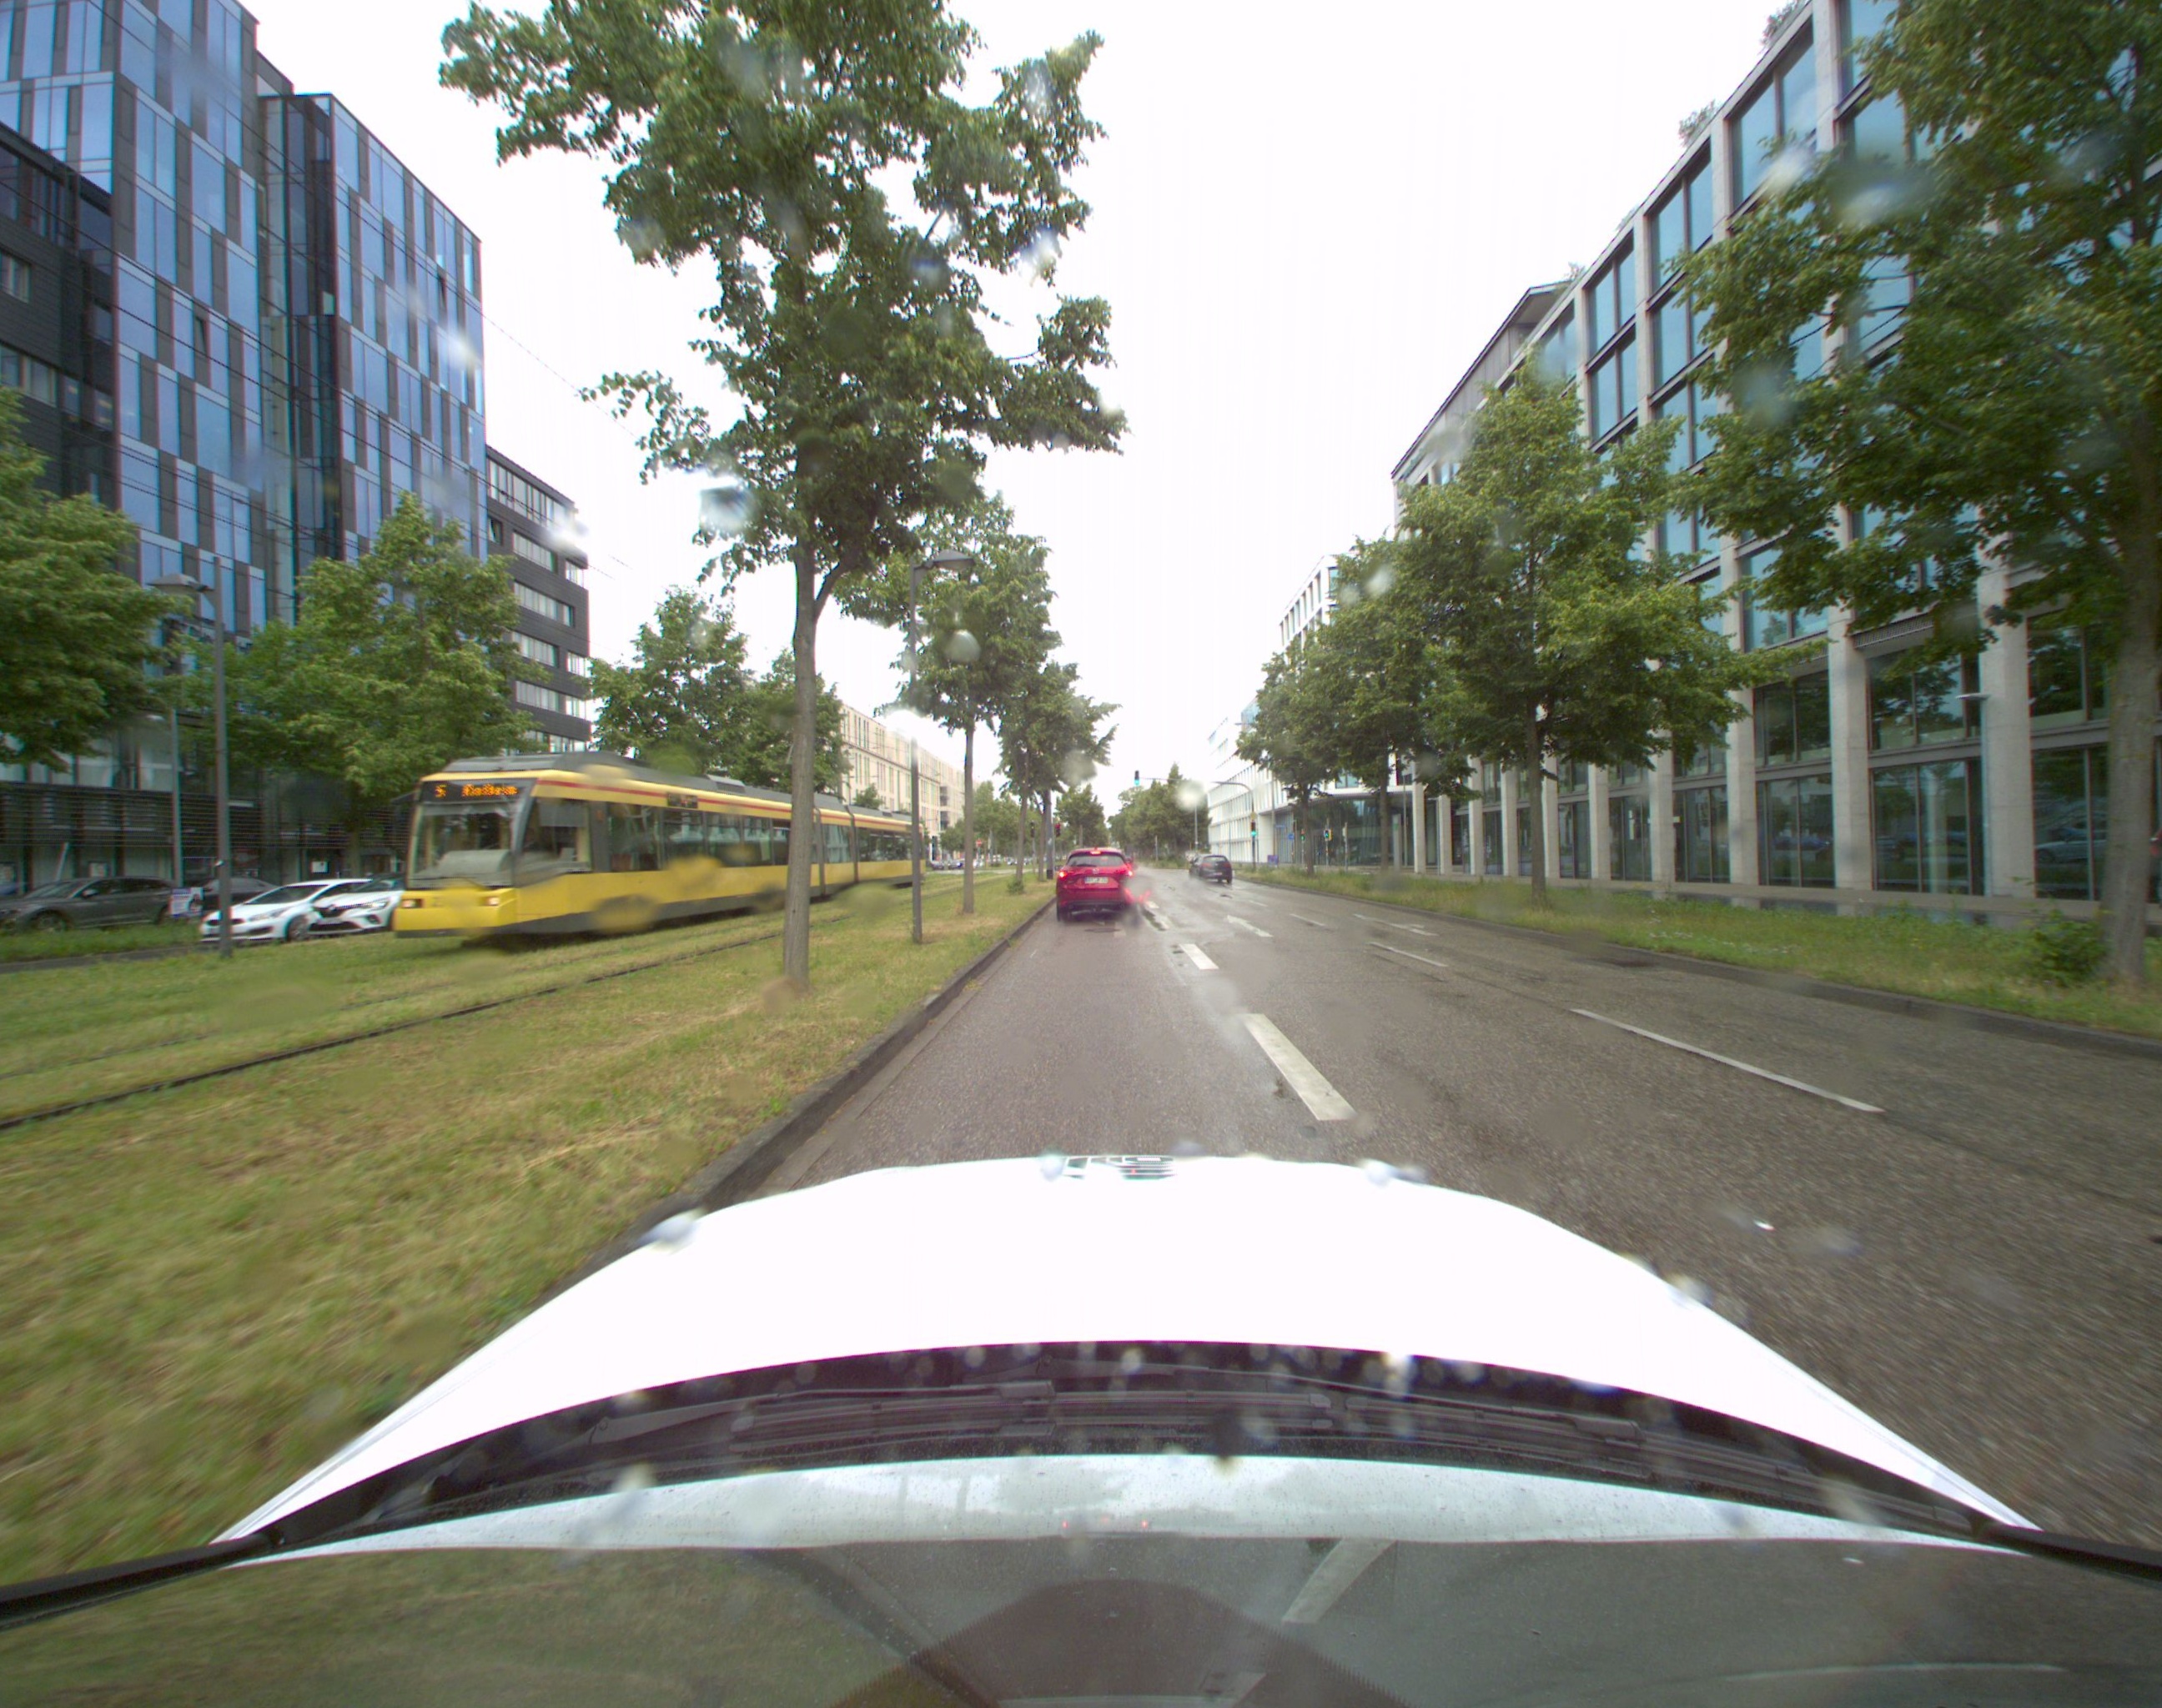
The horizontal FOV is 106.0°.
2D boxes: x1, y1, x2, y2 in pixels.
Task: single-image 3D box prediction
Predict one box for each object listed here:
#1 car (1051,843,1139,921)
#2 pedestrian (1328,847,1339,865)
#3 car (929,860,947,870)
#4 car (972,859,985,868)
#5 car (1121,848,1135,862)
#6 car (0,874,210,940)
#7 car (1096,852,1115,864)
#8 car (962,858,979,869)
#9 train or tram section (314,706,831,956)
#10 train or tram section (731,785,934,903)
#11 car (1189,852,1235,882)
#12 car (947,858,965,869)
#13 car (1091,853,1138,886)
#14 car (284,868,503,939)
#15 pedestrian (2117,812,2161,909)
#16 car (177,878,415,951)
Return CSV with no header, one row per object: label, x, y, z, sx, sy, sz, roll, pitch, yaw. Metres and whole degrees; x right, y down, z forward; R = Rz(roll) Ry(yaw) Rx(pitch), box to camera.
car,0.358,0.609,19.687,1.891,1.677,4.001,-1,0,1
pedestrian,24.065,0.231,77.638,0.683,1.707,0.775,-1,0,-38
car,-21.851,1.666,124.422,1.988,1.484,4.443,-1,0,-2
car,-18.067,1.622,143.867,1.989,1.484,4.440,-1,-1,-3
car,6.888,0.196,119.712,1.986,2.013,4.002,-1,0,2
car,-27.738,1.406,22.651,1.987,1.521,4.607,-1,0,1
car,2.927,0.436,97.944,1.962,1.437,4.548,0,0,-2
car,-16.064,1.377,118.638,1.988,1.484,4.442,-1,0,-2
train or tram section,-9.593,-0.350,18.764,3.117,3.659,13.411,-1,0,2
train or tram section,-9.155,-0.330,33.044,3.117,3.659,15.070,-1,0,2
car,6.688,0.656,41.998,1.738,1.465,3.780,-1,0,-1
car,-18.791,1.444,122.795,1.987,1.618,4.000,-1,0,0
car,1.671,0.718,39.262,1.949,1.465,3.788,-1,0,6
car,-16.083,1.092,19.376,1.704,1.404,4.002,-1,0,2
pedestrian,19.426,0.099,14.528,0.714,1.714,0.861,-3,0,1
car,-19.081,1.396,20.094,1.878,1.459,4.002,-1,0,2
